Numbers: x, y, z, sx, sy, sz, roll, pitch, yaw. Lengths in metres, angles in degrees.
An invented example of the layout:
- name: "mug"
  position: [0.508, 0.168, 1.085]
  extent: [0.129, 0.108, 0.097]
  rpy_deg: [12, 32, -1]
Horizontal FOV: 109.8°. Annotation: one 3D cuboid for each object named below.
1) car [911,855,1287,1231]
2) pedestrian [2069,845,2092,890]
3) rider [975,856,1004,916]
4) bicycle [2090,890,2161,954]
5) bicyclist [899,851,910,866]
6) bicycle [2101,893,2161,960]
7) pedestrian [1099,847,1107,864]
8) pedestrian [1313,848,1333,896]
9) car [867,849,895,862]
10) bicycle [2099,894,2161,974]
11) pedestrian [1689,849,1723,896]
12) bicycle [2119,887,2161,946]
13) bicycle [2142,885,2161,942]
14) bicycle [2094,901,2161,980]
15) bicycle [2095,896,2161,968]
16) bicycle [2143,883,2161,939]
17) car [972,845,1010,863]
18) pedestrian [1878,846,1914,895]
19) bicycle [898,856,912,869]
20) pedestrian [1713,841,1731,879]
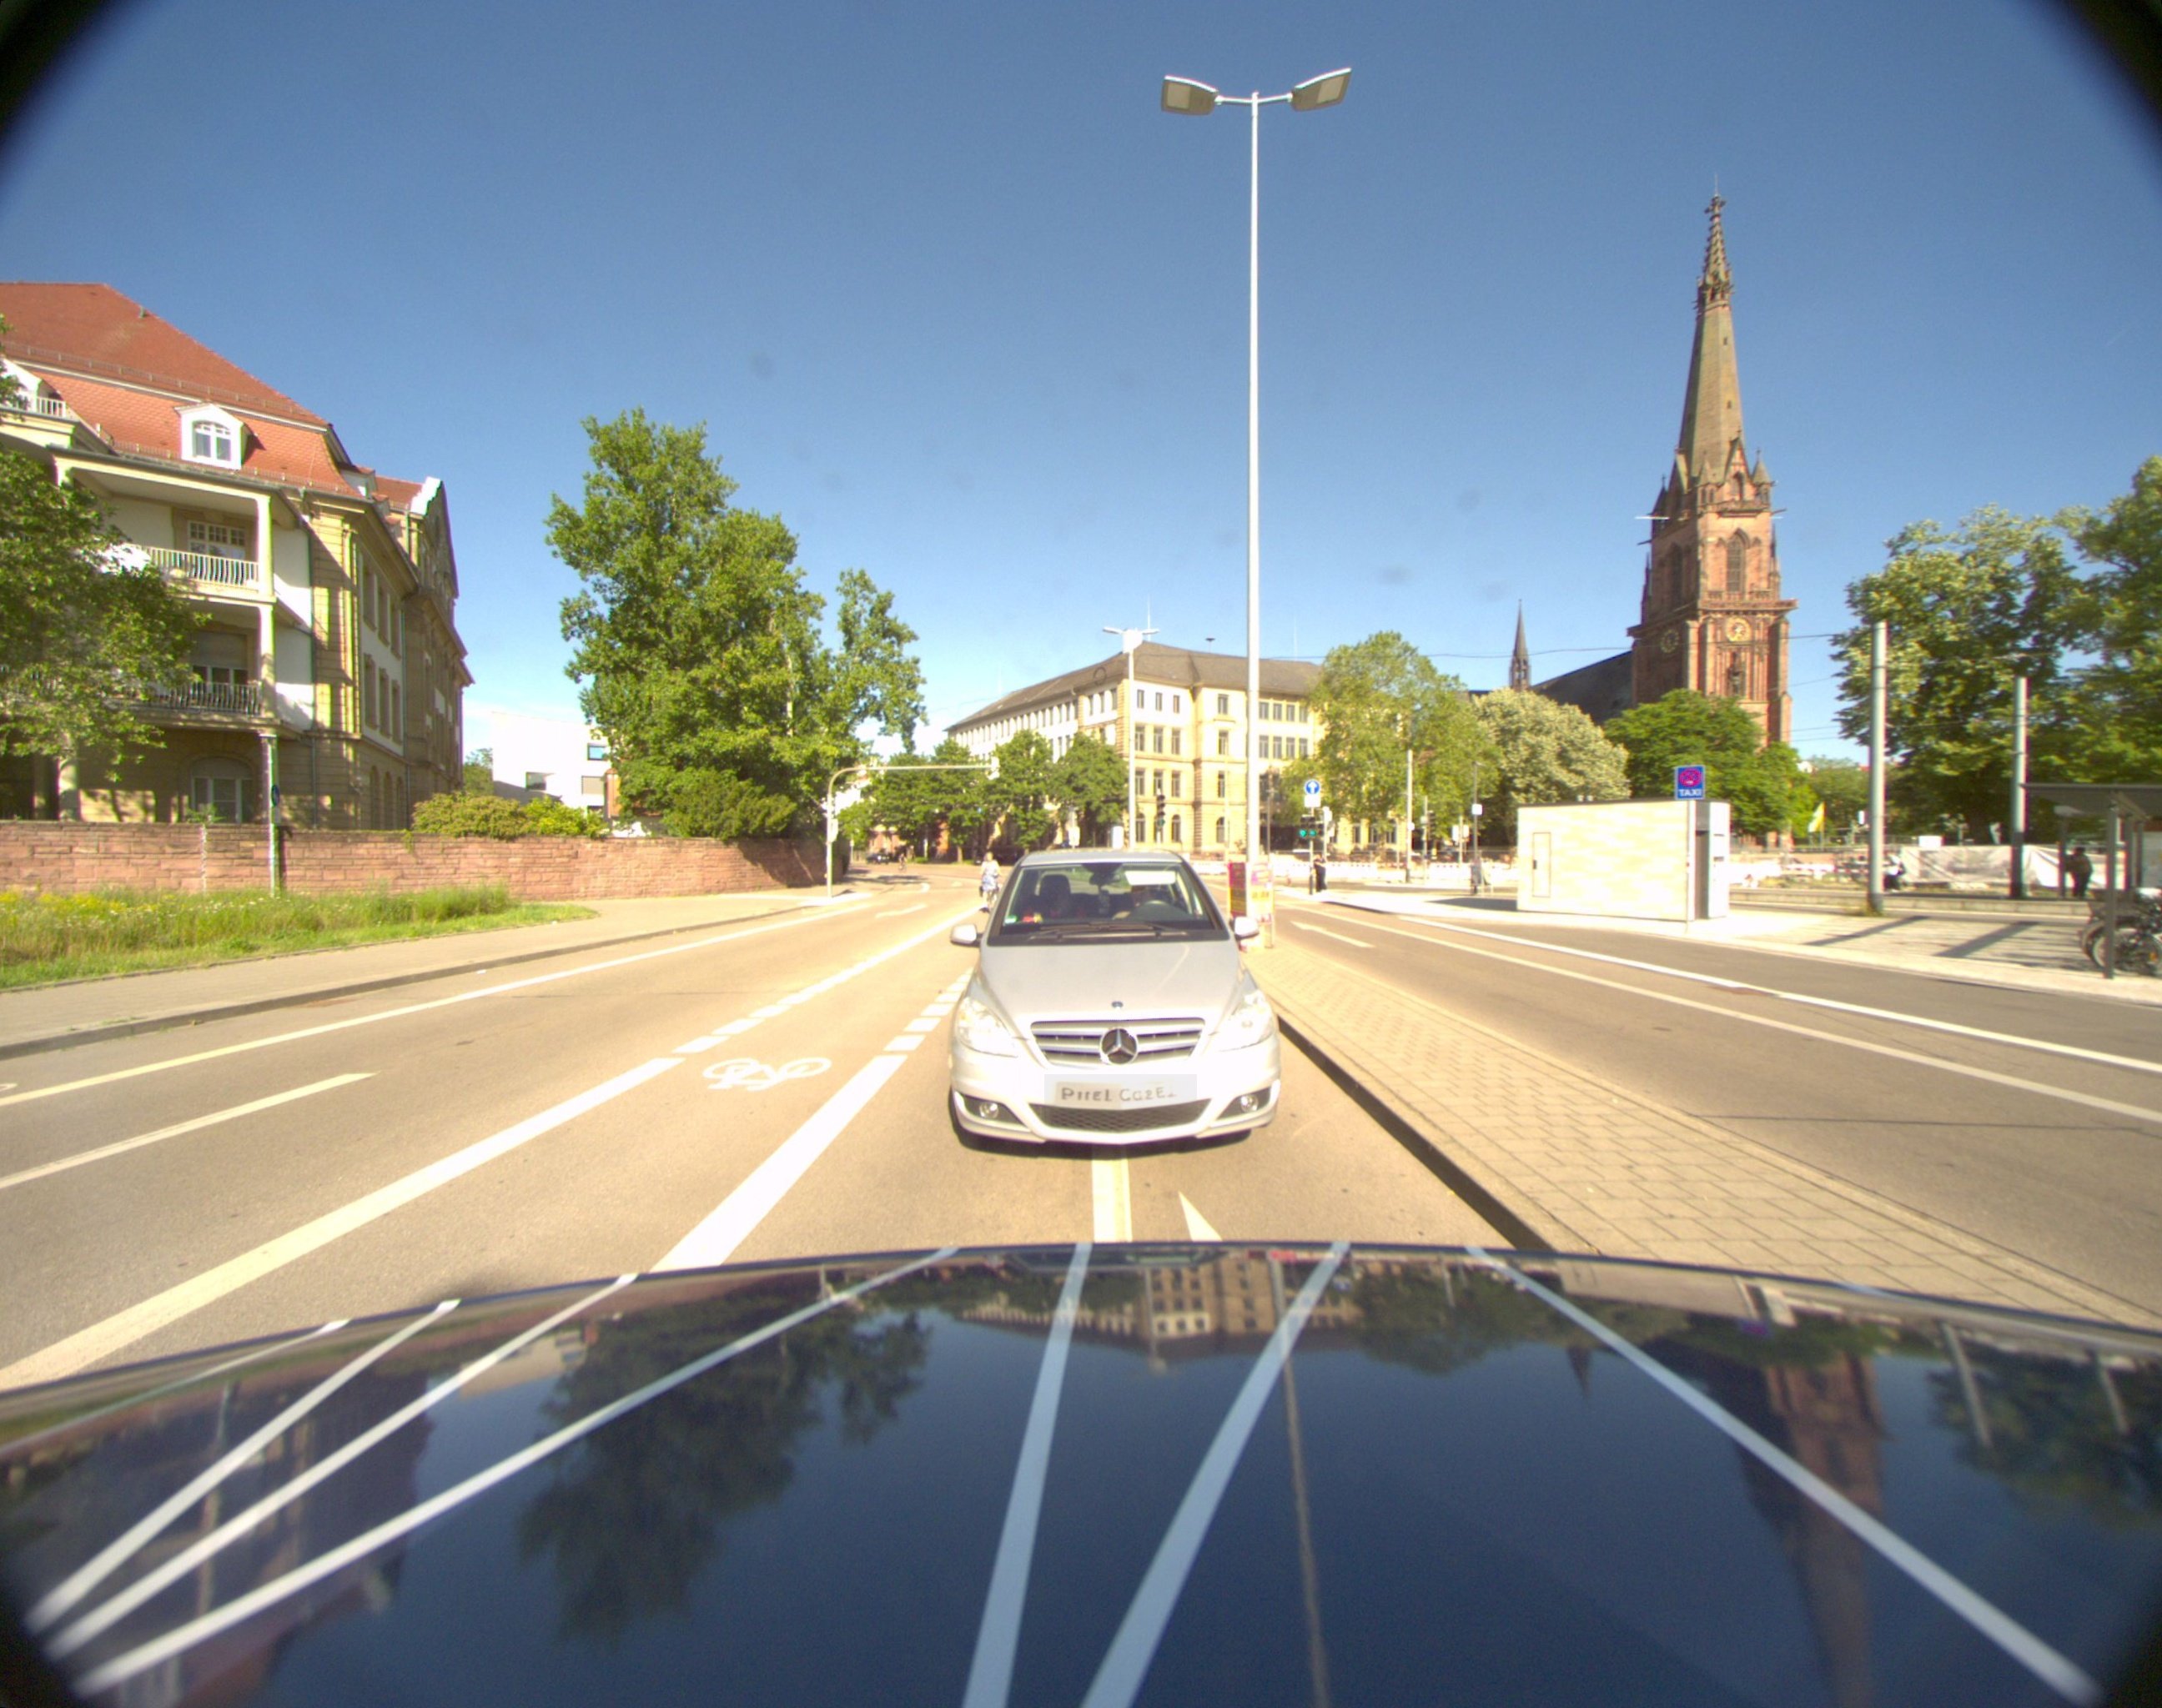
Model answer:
- name: "car"
  position: [0.057, 0.878, 5.473]
  extent: [1.706, 1.657, 3.913]
  rpy_deg: [-1, 1, -1]
- name: "pedestrian"
  position: [37.571, 0.500, 28.572]
  extent: [0.404, 1.711, 0.419]
  rpy_deg: [1, 1, 38]
- name: "rider"
  position: [-2.528, 0.866, 21.044]
  extent: [0.658, 1.610, 0.989]
  rpy_deg: [-1, 1, 1]
- name: "bicycle"
  position: [17.912, 1.128, 12.423]
  extent: [0.458, 1.003, 1.667]
  rpy_deg: [-1, 1, -33]
- name: "bicyclist"
  position: [-15.138, 0.381, 65.184]
  extent: [0.711, 1.309, 0.777]
  rpy_deg: [-1, 1, 0]
- name: "bicycle"
  position: [17.259, 1.148, 11.650]
  extent: [0.458, 1.003, 1.899]
  rpy_deg: [-1, 1, -33]
- name: "pedestrian"
  position: [2.205, 0.173, 76.567]
  extent: [0.677, 1.714, 0.588]
  rpy_deg: [-1, 1, -22]
- name: "pedestrian"
  position: [9.382, 0.701, 29.486]
  extent: [0.693, 1.844, 0.679]
  rpy_deg: [0, 1, 13]
- name: "car"
  position: [-25.540, 0.159, 97.101]
  extent: [1.798, 1.490, 4.562]
  rpy_deg: [1, 1, -38]
- name: "bicycle"
  position: [15.199, 1.124, 10.275]
  extent: [0.458, 1.055, 1.667]
  rpy_deg: [-1, 1, -33]
- name: "pedestrian"
  position: [24.064, 0.681, 29.261]
  extent: [0.980, 1.769, 0.801]
  rpy_deg: [-1, 1, -37]
- name: "bicycle"
  position: [19.126, 1.099, 12.944]
  extent: [0.458, 1.003, 1.667]
  rpy_deg: [-1, 1, -33]
- name: "bicycle"
  position: [19.893, 1.076, 13.195]
  extent: [0.458, 1.003, 1.667]
  rpy_deg: [-1, 1, -33]
- name: "bicycle"
  position: [14.698, 1.172, 9.960]
  extent: [0.458, 1.003, 1.667]
  rpy_deg: [-1, 1, -33]
- name: "bicycle"
  position: [16.072, 1.154, 10.972]
  extent: [0.458, 1.003, 1.667]
  rpy_deg: [-1, 1, -33]
- name: "bicycle"
  position: [20.487, 1.064, 13.605]
  extent: [0.458, 1.003, 1.667]
  rpy_deg: [-1, 1, -33]
- name: "car"
  position: [-10.726, -0.034, 90.757]
  extent: [1.994, 2.002, 4.721]
  rpy_deg: [0, 1, 32]
- name: "pedestrian"
  position: [30.450, 0.606, 28.392]
  extent: [0.980, 1.769, 0.801]
  rpy_deg: [-1, 1, -37]
- name: "bicycle"
  position: [-15.131, 0.726, 65.348]
  extent: [0.711, 1.000, 1.753]
  rpy_deg: [-1, 1, 1]
- name: "pedestrian"
  position: [36.461, 0.314, 43.216]
  extent: [0.571, 2.142, 0.549]
  rpy_deg: [-1, 1, -25]
